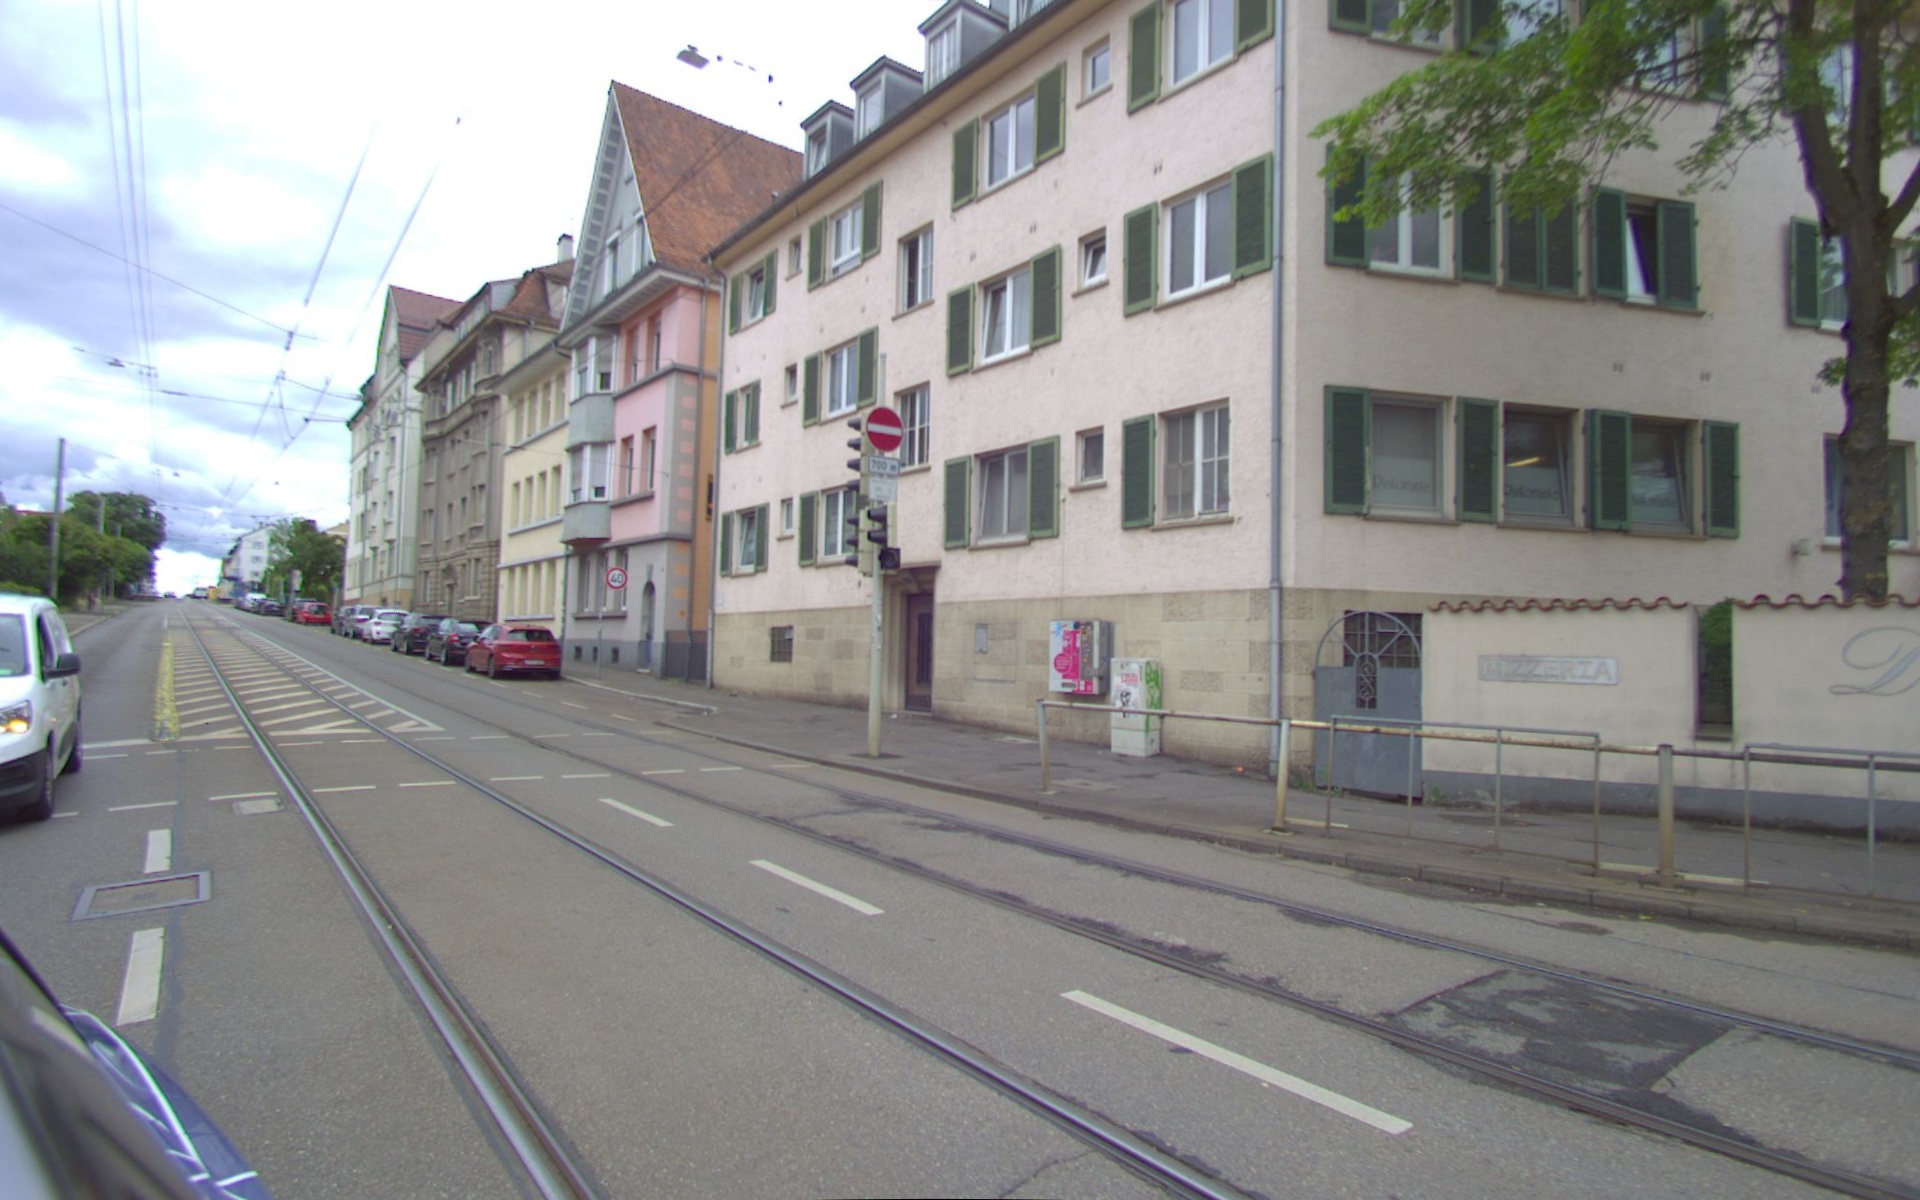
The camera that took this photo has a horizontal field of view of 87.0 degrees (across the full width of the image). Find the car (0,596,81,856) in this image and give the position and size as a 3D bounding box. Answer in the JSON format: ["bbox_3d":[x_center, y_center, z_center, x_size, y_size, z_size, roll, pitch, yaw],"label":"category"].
[{"bbox_3d":[-8.891,0.960,8.601,1.859,1.852,4.686,-2,0,-38],"label":"car"}]

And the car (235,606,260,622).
[{"bbox_3d":[-73.356,1.435,104.194,1.717,1.537,3.959,6,-3,-39],"label":"car"}]

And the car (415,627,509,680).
[{"bbox_3d":[-15.815,1.662,32.034,1.762,1.421,4.250,6,-3,-38],"label":"car"}]

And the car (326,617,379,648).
[{"bbox_3d":[-31.058,1.635,51.681,1.716,1.391,4.052,3,-2,-39],"label":"car"}]

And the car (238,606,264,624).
[{"bbox_3d":[-70.292,1.497,100.376,1.717,1.537,3.959,6,-3,-39],"label":"car"}]

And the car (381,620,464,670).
[{"bbox_3d":[-19.267,1.579,36.192,1.762,1.522,4.535,6,-3,-38],"label":"car"}]

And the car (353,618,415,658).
[{"bbox_3d":[-24.767,1.600,43.477,1.716,1.522,3.808,4,-2,-38],"label":"car"}]

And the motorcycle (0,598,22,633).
[{"bbox_3d":[-39.705,0.624,41.918,0.720,1.400,1.942,7,-5,-31],"label":"motorcycle"}]

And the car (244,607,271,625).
[{"bbox_3d":[-66.196,1.521,95.365,1.716,1.537,3.960,6,-3,-38],"label":"car"}]

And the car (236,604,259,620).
[{"bbox_3d":[-76.960,1.276,109.306,1.717,1.537,3.959,6,-3,-39],"label":"car"}]

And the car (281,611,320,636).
[{"bbox_3d":[-46.144,1.629,70.783,1.717,1.537,3.959,6,-3,-39],"label":"car"}]

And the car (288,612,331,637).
[{"bbox_3d":[-43.027,1.620,66.911,1.718,1.470,3.957,6,-3,-42],"label":"car"}]

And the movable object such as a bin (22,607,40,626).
[{"bbox_3d":[-50.641,0.901,55.179,0.659,1.067,0.540,2,-2,-38],"label":"movable object such as a bin"}]

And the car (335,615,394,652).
[{"bbox_3d":[-28.089,1.566,47.704,1.716,1.579,4.151,3,-1,-39],"label":"car"}]

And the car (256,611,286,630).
[{"bbox_3d":[-61.823,1.853,90.782,1.717,1.537,3.959,6,-3,-39],"label":"car"}]

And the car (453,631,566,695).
[{"bbox_3d":[-12.444,1.689,27.795,1.762,1.449,4.270,6,-3,-38],"label":"car"}]
